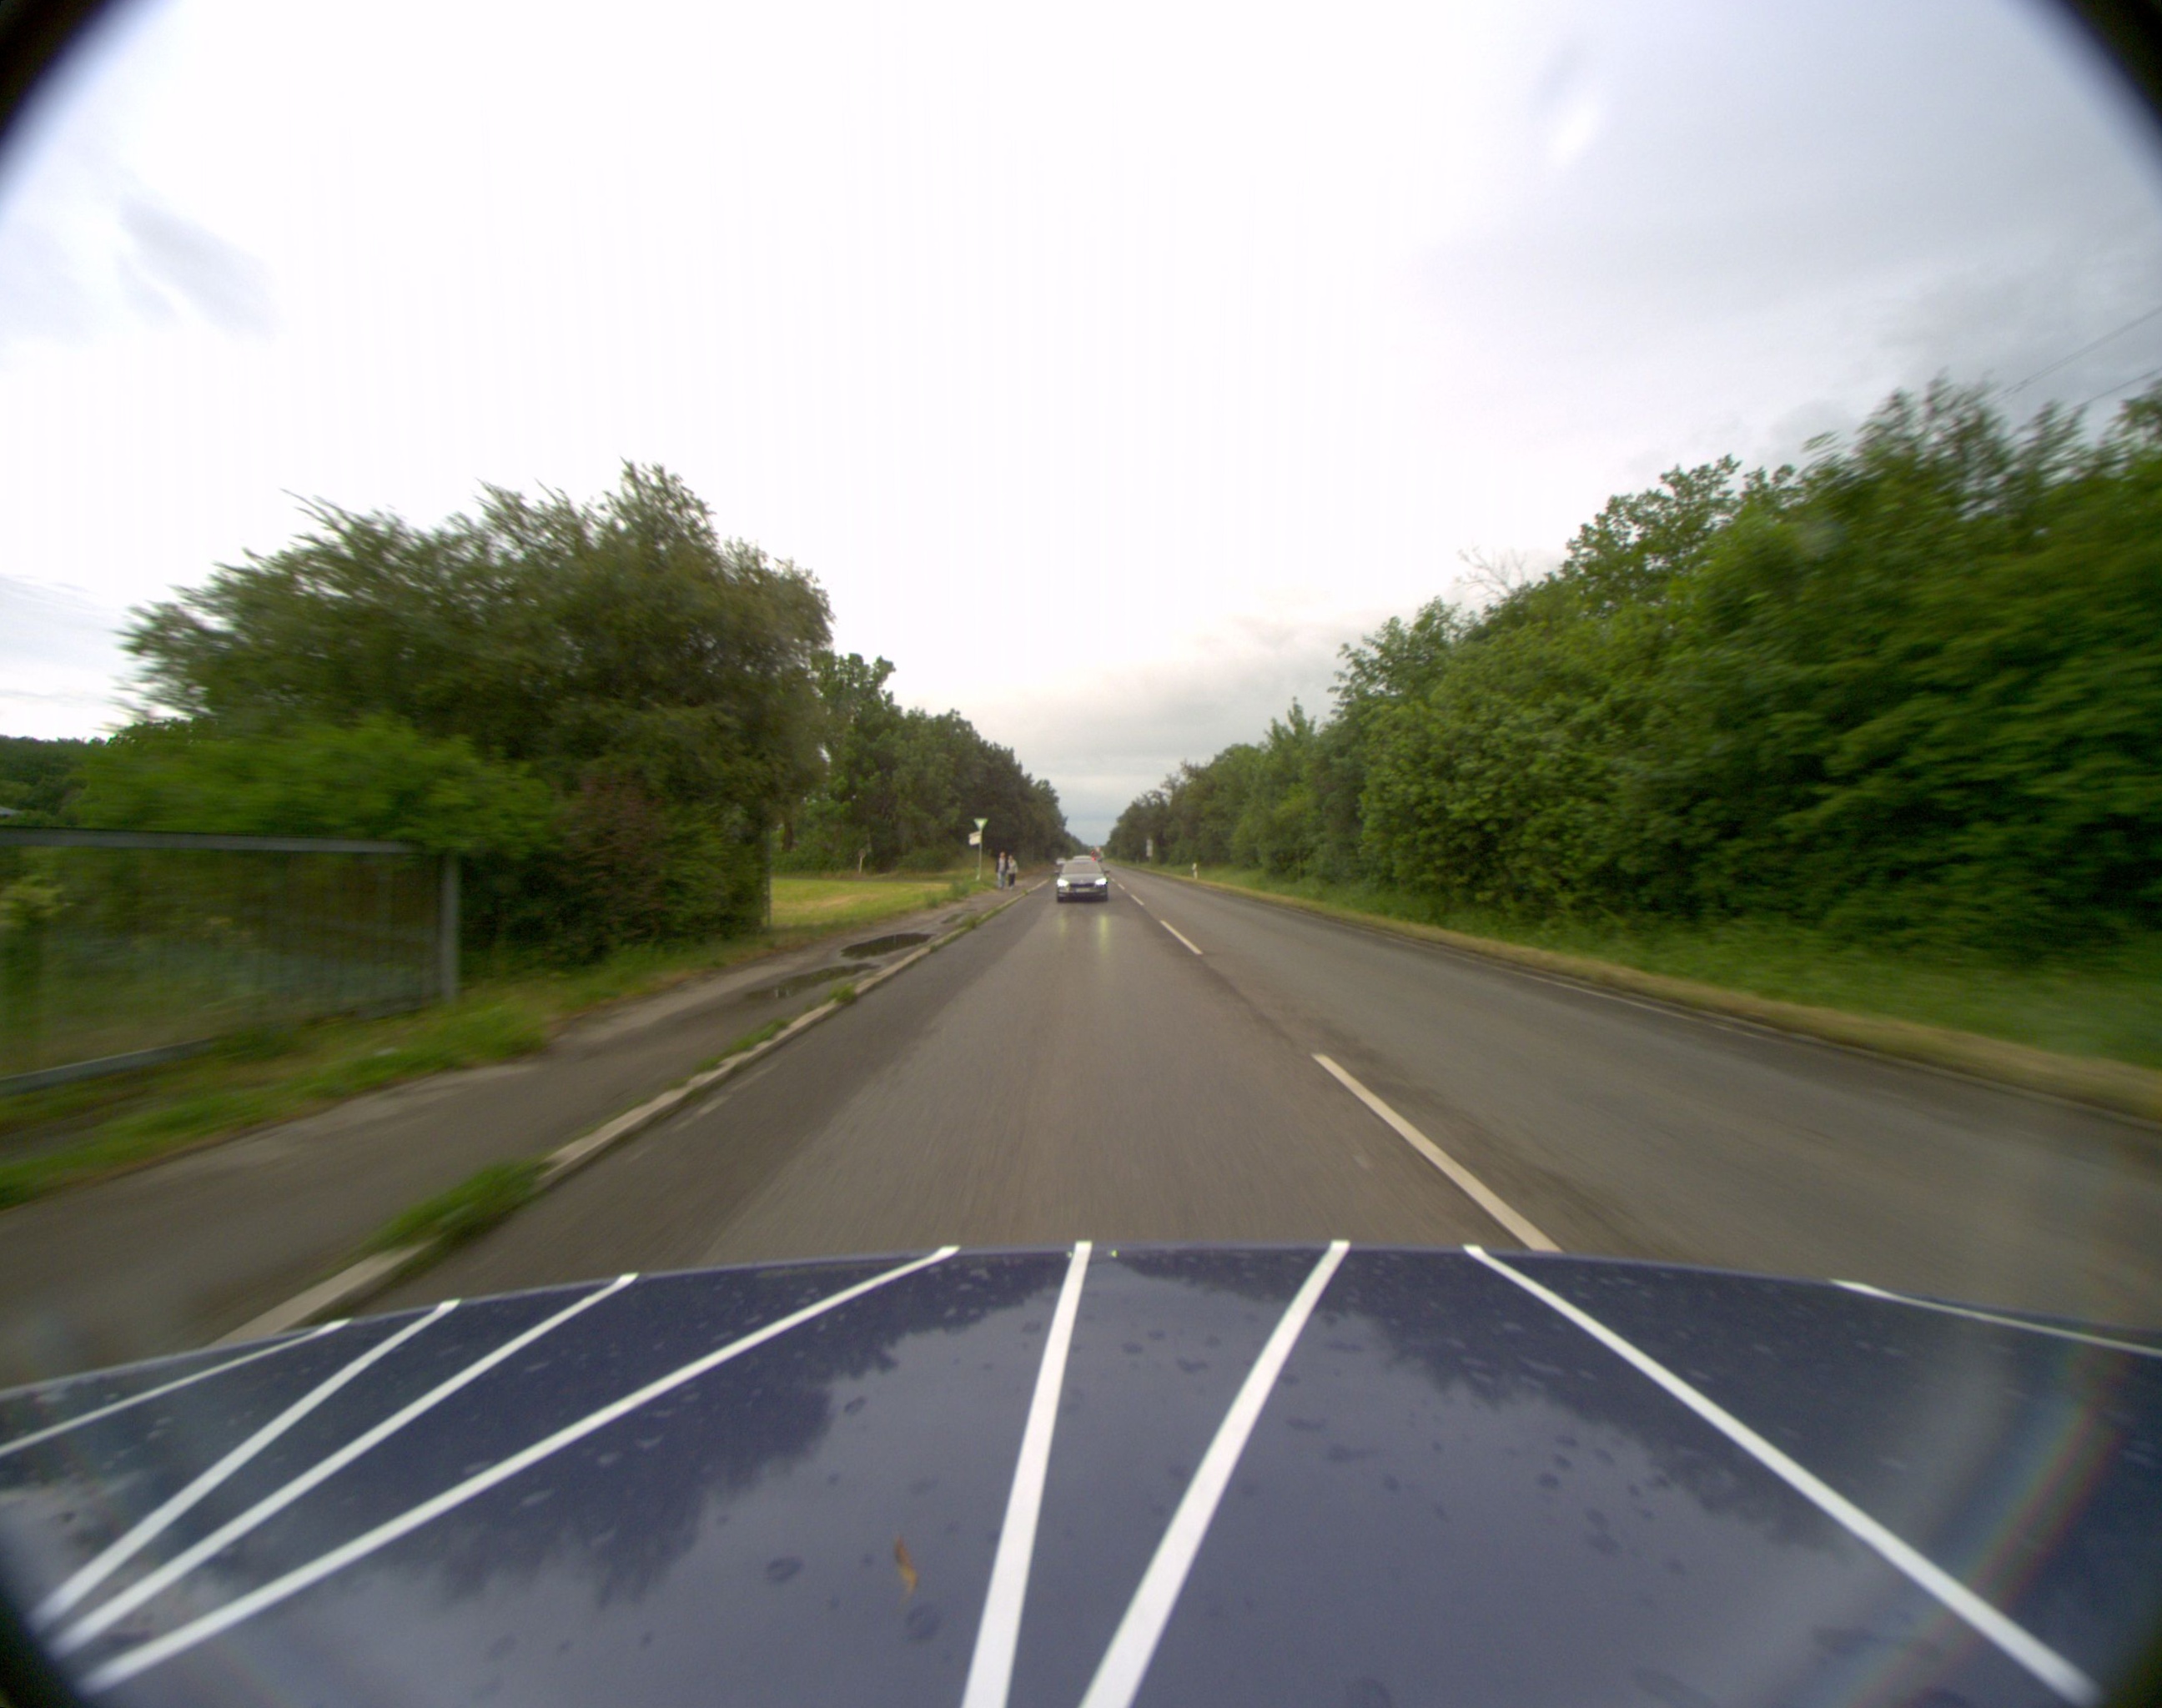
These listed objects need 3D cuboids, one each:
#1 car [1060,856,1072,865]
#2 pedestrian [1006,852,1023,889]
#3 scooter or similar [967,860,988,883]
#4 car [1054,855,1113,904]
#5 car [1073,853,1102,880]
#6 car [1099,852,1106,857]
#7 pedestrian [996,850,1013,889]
[{"bbox_3d":[-2.569,1.053,130.392,1.748,1.460,4.220,1,1,1],"label":"car"},{"bbox_3d":[-3.256,0.802,37.158,0.663,1.768,0.759,0,1,-16],"label":"pedestrian"},{"bbox_3d":[-5.588,0.940,41.076,1.323,1.199,0.375,1,1,41],"label":"scooter or similar"},{"bbox_3d":[0.098,0.858,27.705,1.915,1.543,4.354,-2,0,0],"label":"car"},{"bbox_3d":[0.454,0.853,52.656,1.915,1.690,3.913,-2,1,0],"label":"car"},{"bbox_3d":[6.470,0.151,228.786,1.876,1.480,4.573,2,1,0],"label":"car"},{"bbox_3d":[-3.603,0.732,35.773,0.696,1.817,0.800,0,1,-16],"label":"pedestrian"}]
